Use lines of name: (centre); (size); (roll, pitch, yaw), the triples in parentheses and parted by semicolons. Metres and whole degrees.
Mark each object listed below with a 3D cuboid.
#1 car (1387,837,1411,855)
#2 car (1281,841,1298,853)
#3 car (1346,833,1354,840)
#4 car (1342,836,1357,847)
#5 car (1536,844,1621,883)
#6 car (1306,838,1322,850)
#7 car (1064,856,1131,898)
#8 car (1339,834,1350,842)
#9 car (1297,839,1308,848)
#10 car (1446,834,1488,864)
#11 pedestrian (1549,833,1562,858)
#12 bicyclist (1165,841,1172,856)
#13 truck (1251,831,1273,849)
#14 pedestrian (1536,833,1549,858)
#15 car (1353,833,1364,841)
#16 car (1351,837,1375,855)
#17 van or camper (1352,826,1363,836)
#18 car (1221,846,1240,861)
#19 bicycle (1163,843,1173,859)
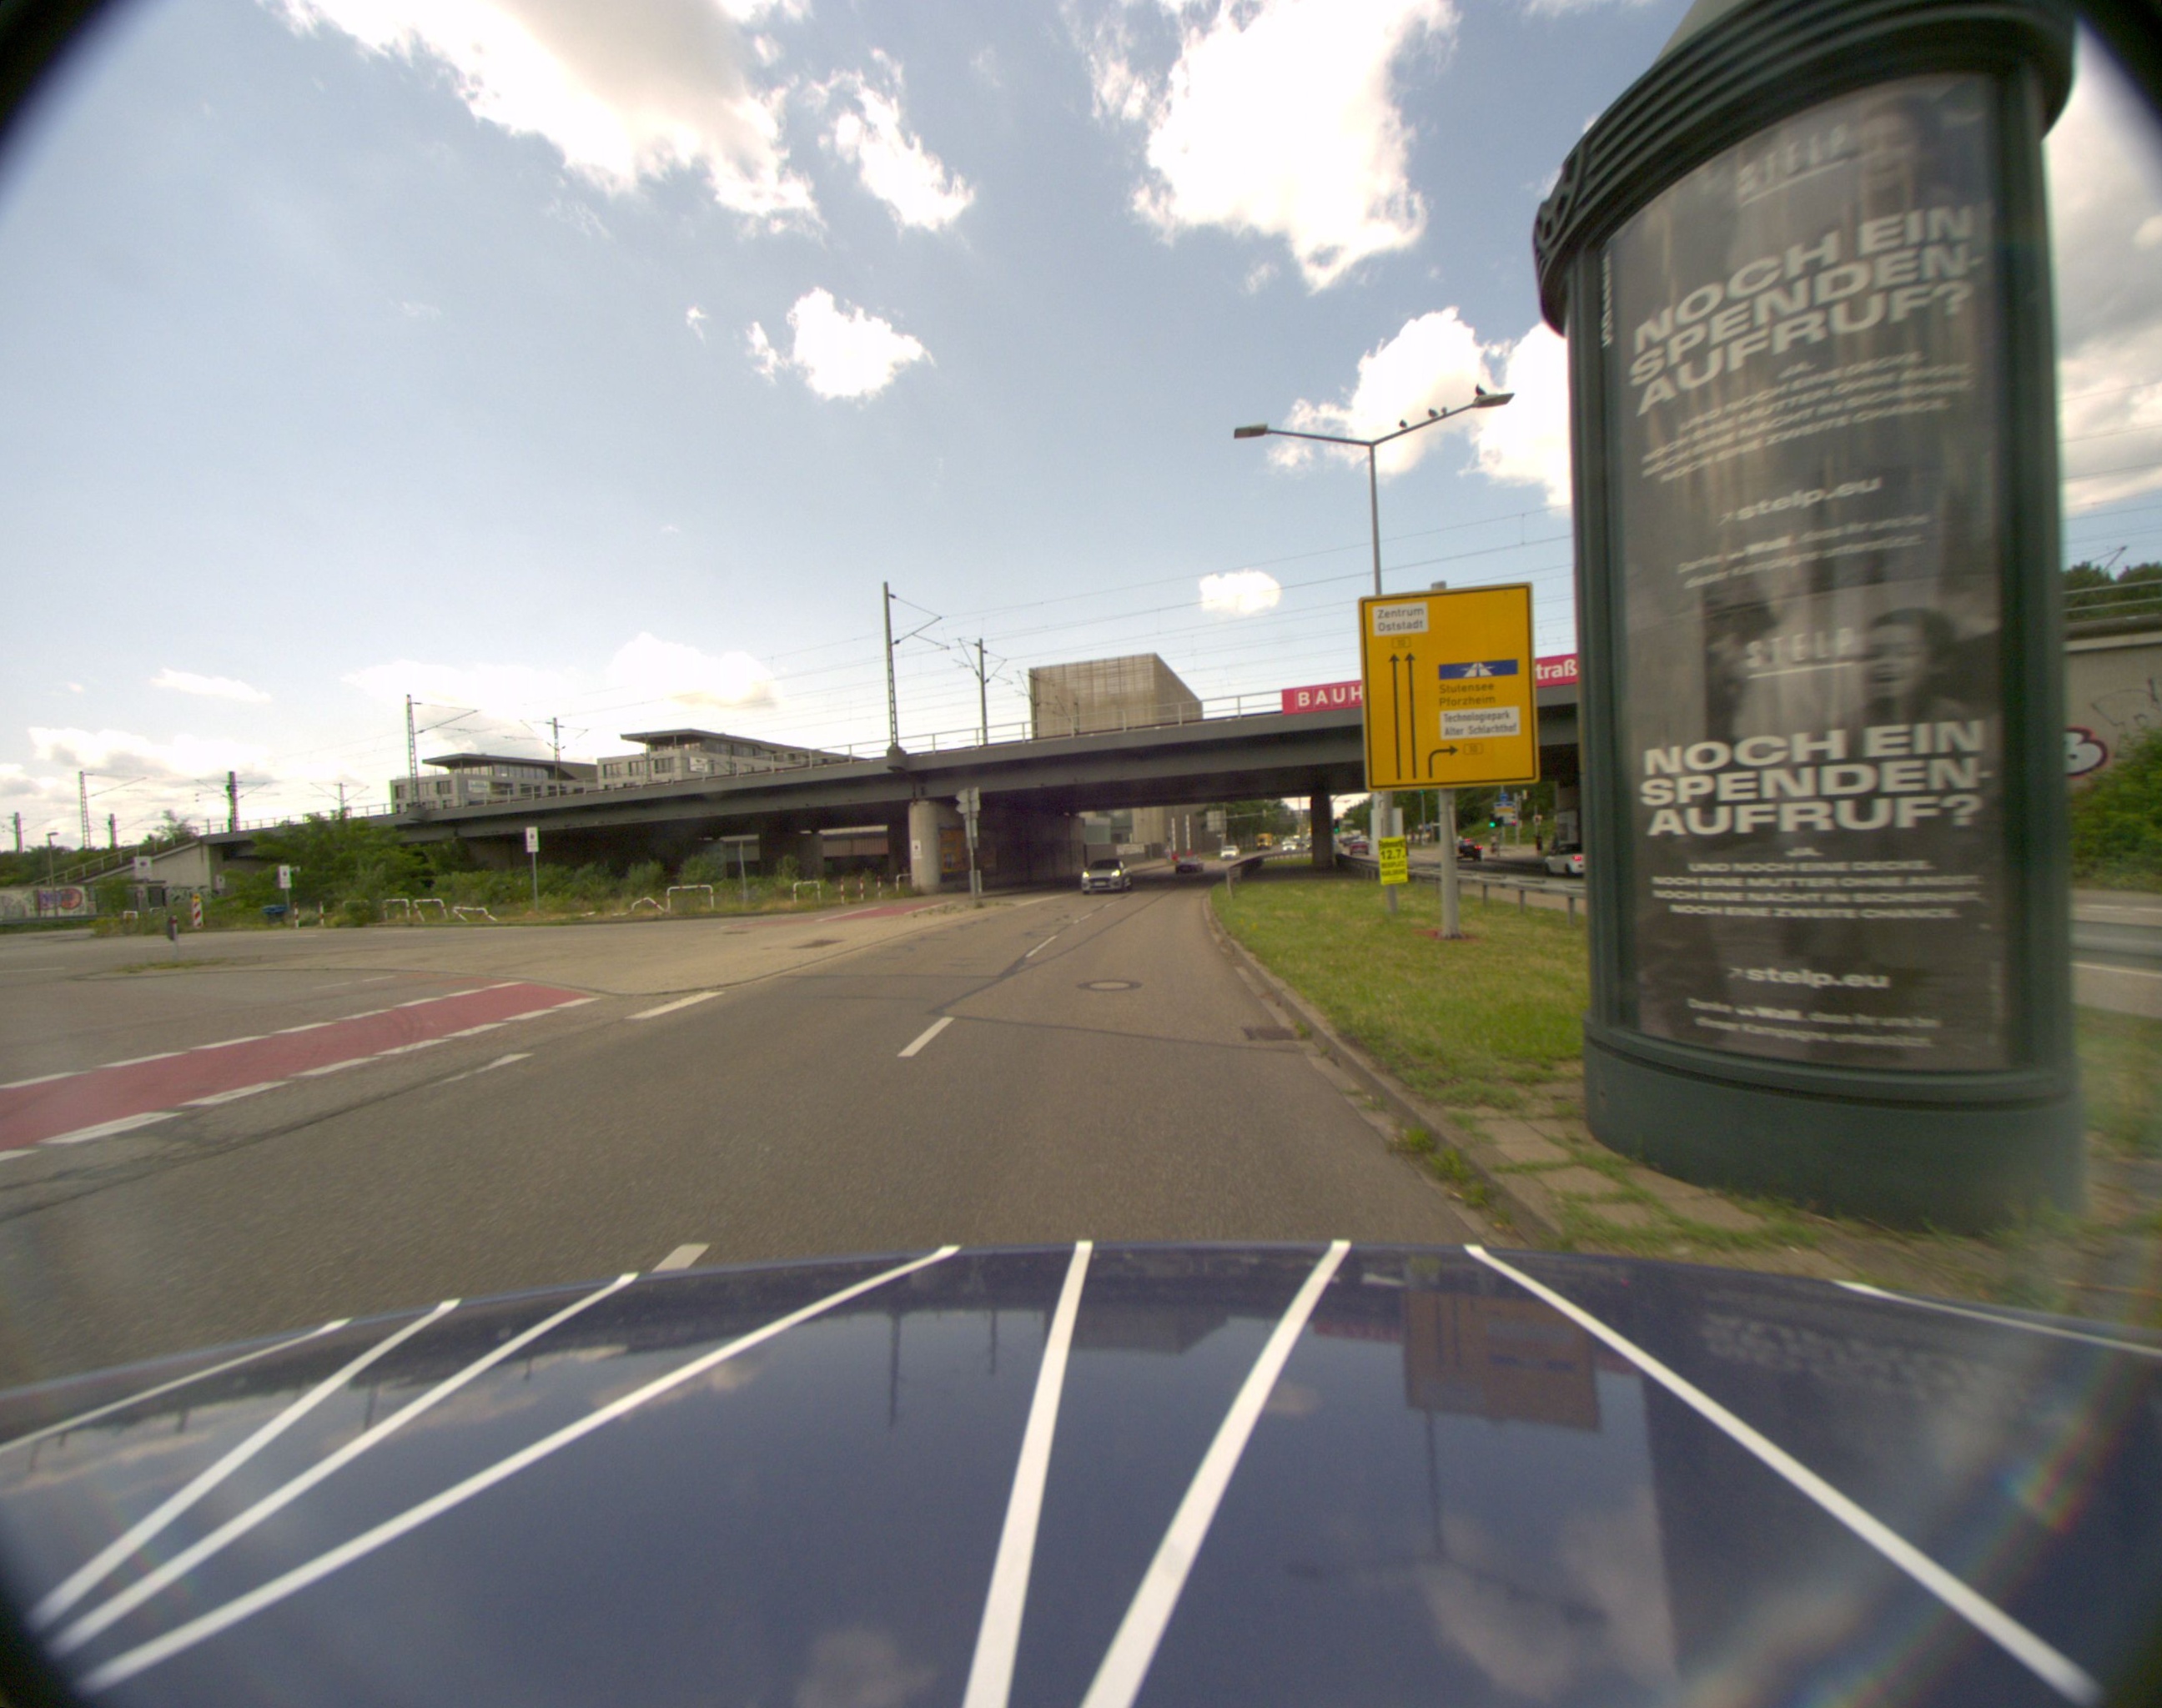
car: (30.283, -0.771, 72.400); (1.949, 1.366, 4.005); (-4, 1, 23)
car: (28.836, -0.982, 104.903); (1.918, 1.406, 4.300); (-5, 0, 18)
car: (81.919, -5.333, 231.316); (2.193, 1.953, 5.198); (-2, 1, 17)
car: (43.224, -2.025, 122.358); (1.996, 1.749, 4.721); (-2, 1, 16)
car: (21.258, 0.364, 32.645); (1.755, 1.502, 4.004); (-2, 0, 13)
car: (33.629, -1.478, 109.510); (1.996, 1.407, 4.837); (-4, 1, 18)
car: (0.824, 1.000, 34.423); (1.821, 1.565, 3.958); (-4, 1, 18)
car: (54.205, -3.305, 156.430); (1.976, 1.381, 4.785); (-2, 2, 18)
car: (40.928, -2.013, 140.341); (1.780, 1.488, 3.602); (-2, 1, 18)
car: (28.491, -0.414, 56.233); (1.996, 2.002, 4.341); (-2, 1, 17)
pedestrian: (32.078, -0.587, 51.353); (0.555, 1.616, 0.587); (-2, 1, 19)
bicyclist: (10.500, -0.626, 91.261); (0.716, 1.759, 0.989); (-2, 2, 14)
truck: (32.255, -2.526, 134.879); (3.062, 3.095, 7.943); (-2, 1, 18)
pedestrian: (31.809, -0.605, 52.345); (0.591, 1.671, 0.556); (-2, 1, 16)
car: (60.373, -3.769, 165.437); (1.928, 1.521, 4.003); (-1, 3, 16)
car: (29.150, -0.823, 78.390); (1.995, 1.665, 4.329); (-2, 1, 24)
van or camper: (76.545, -6.345, 210.225); (2.355, 2.525, 7.071); (-3, 1, 17)
car: (17.375, -0.070, 88.191); (1.711, 1.488, 3.654); (-2, 1, 18)
bicycle: (10.438, -0.367, 90.968); (0.720, 1.764, 2.535); (-2, 2, 14)
